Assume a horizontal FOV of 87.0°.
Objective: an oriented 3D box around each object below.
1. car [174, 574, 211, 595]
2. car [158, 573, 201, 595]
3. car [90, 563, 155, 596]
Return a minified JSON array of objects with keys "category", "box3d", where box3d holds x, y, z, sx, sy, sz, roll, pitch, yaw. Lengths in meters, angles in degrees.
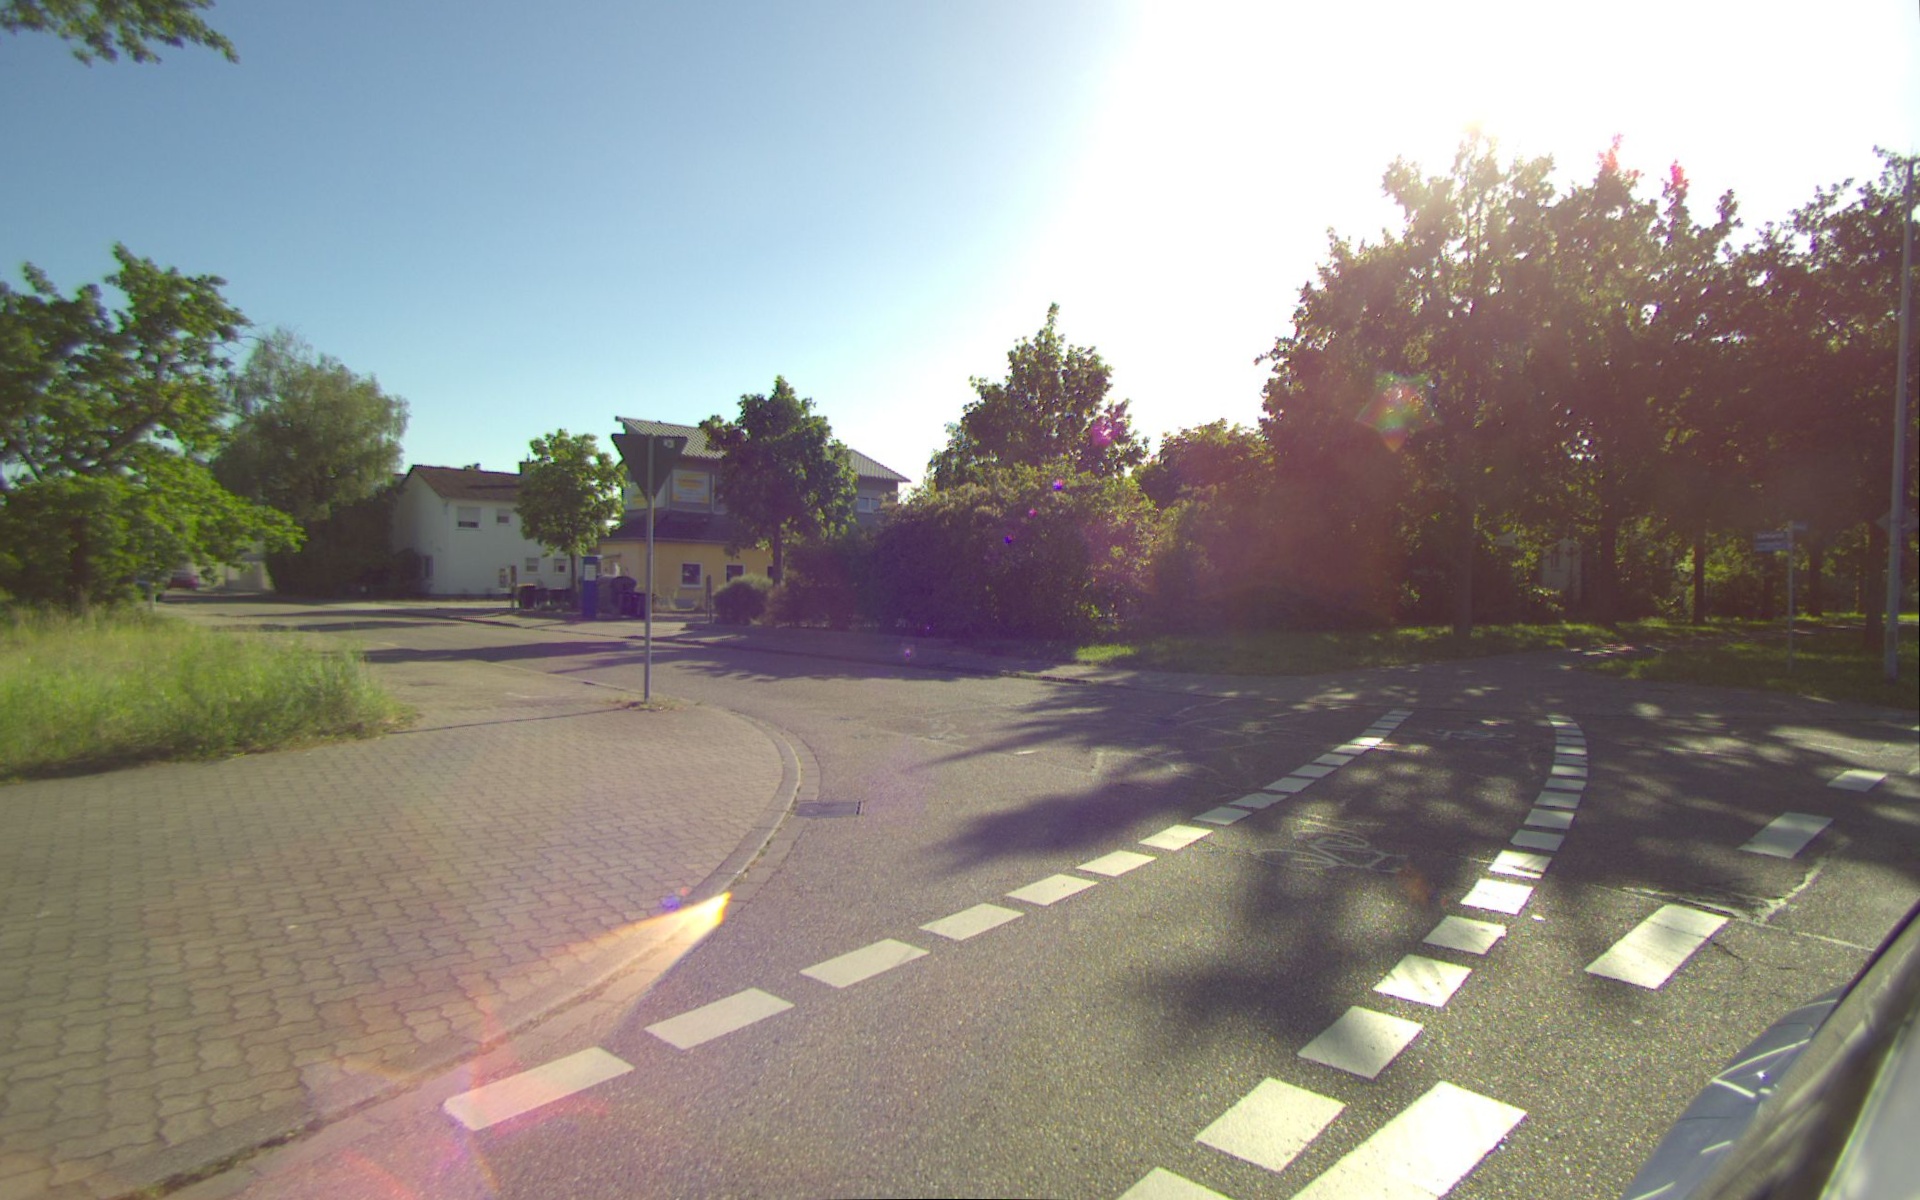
[{"category":"car","box3d":[-67.010,-1.350,88.361,3.985,1.817,1.969,0,1,43]},{"category":"car","box3d":[-59.089,-1.203,76.599,3.985,1.560,1.969,0,1,43]},{"category":"car","box3d":[-41.717,-1.009,50.387,3.985,1.560,1.969,0,1,43]}]
